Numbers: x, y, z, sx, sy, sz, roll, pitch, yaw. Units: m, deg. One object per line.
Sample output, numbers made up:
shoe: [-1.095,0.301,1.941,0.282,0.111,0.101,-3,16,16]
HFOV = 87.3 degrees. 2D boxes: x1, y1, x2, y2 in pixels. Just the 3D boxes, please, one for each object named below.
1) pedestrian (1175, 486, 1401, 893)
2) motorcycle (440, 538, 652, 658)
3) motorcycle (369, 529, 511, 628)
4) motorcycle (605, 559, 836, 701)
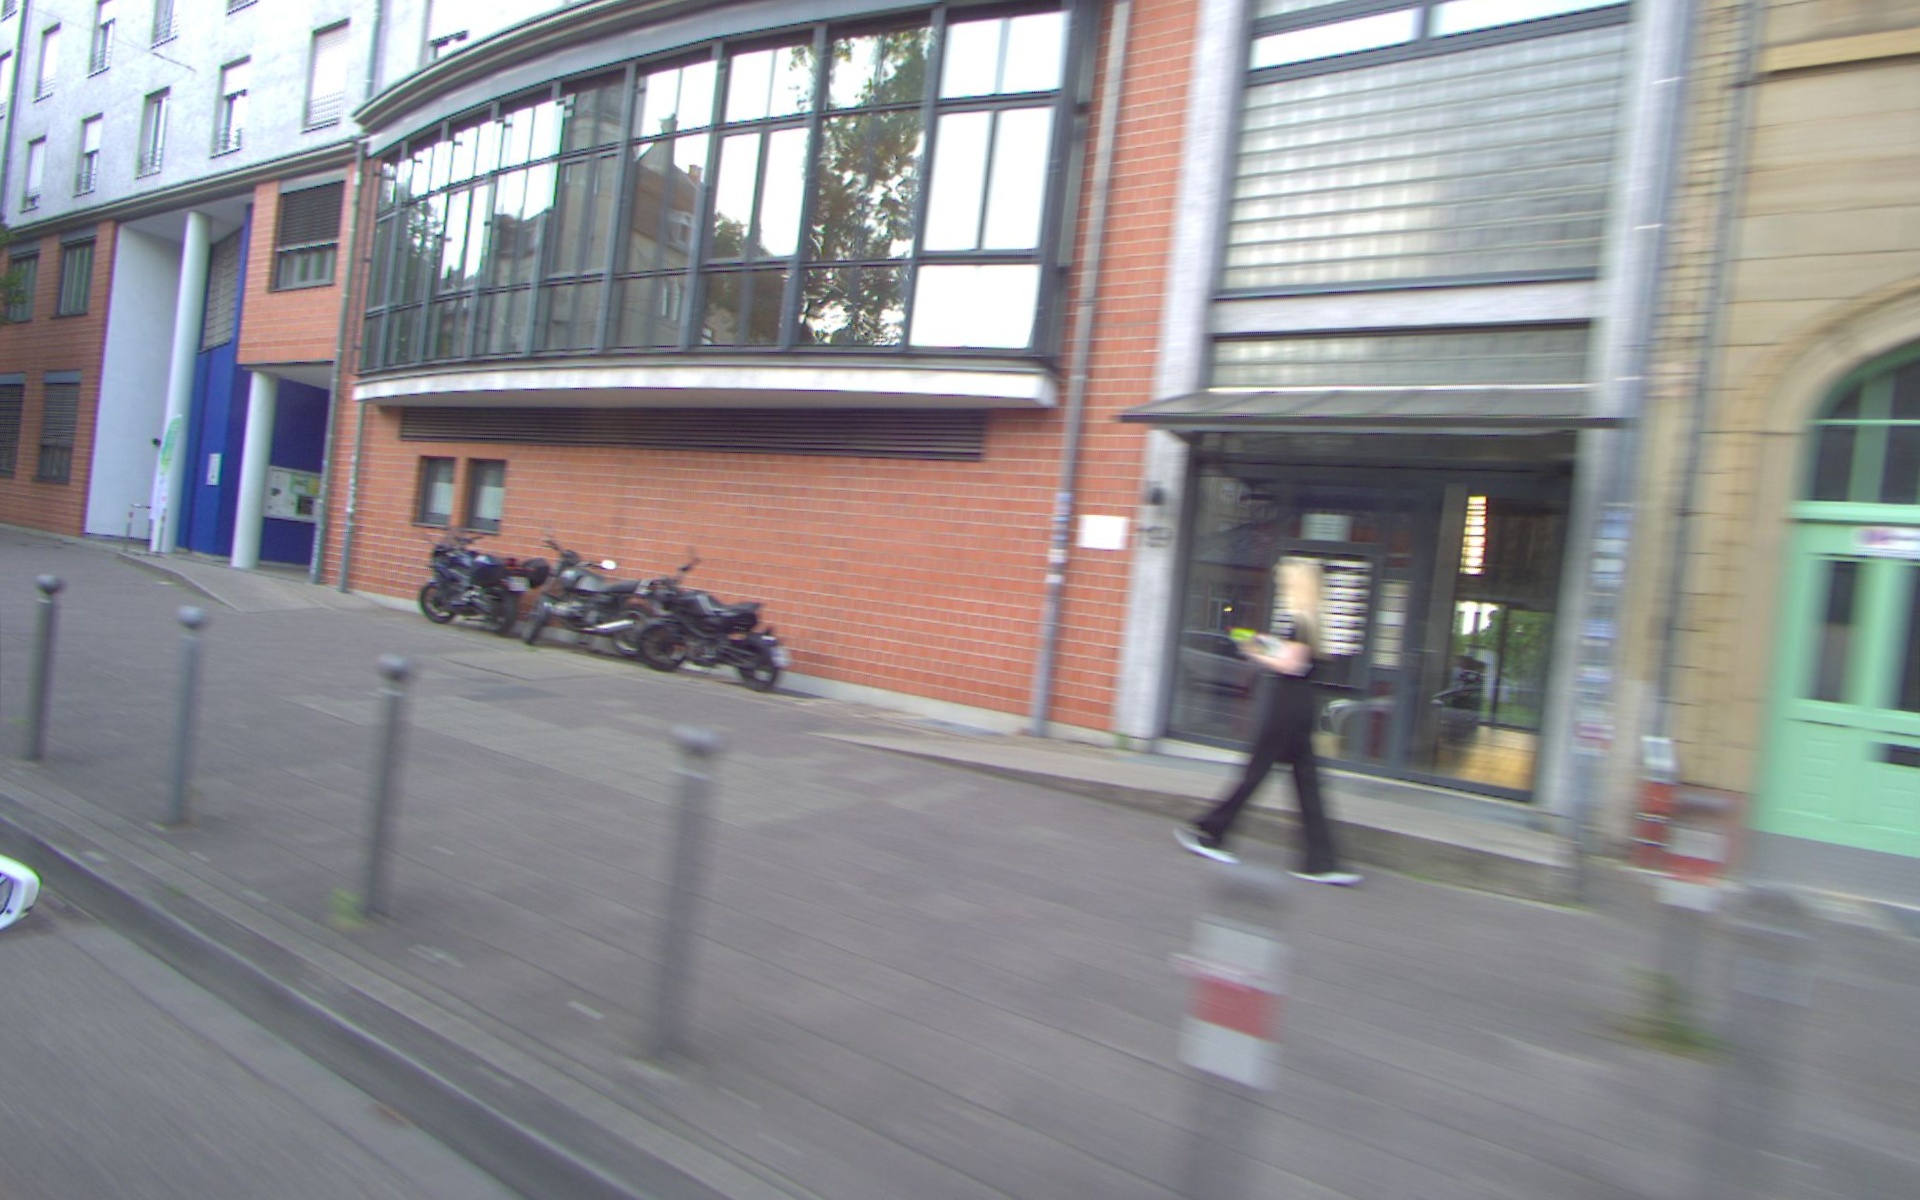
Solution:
pedestrian: [1.818,0.450,5.570,0.843,2.040,0.607,8,2,33]
motorcycle: [-5.023,-0.034,12.193,2.371,1.154,0.777,7,2,19]
motorcycle: [-6.994,-0.297,13.489,2.048,1.118,0.588,7,3,29]
motorcycle: [-2.540,0.278,10.519,2.399,1.154,0.800,7,2,31]
